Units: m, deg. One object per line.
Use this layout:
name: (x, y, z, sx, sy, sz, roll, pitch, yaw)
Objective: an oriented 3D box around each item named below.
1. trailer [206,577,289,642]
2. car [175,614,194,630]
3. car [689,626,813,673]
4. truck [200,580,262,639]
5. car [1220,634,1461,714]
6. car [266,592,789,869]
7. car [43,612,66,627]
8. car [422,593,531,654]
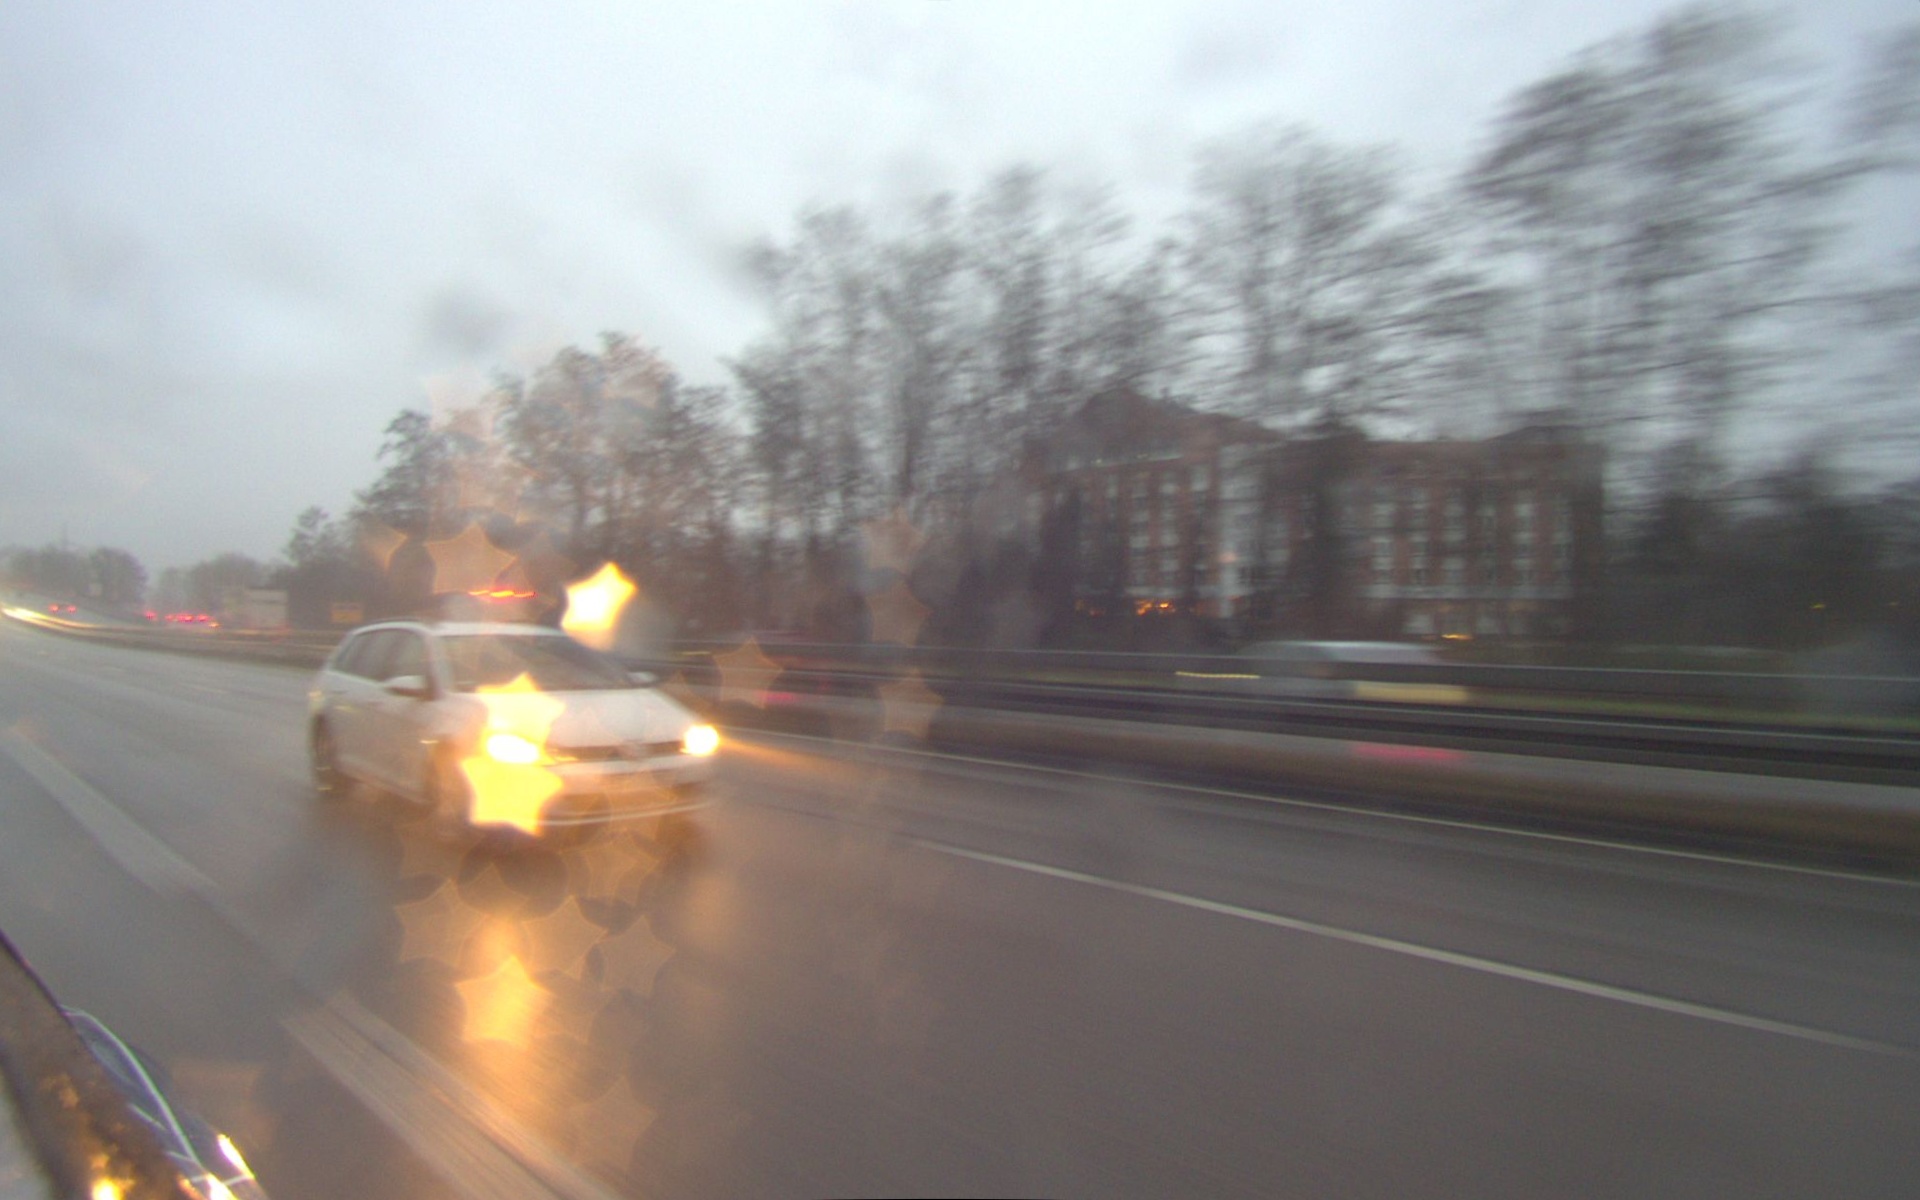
trailer: (-57.853, 0.758, 81.963, 3.449, 4.884, 13.491, -2, 1, -44)
car: (-102.639, 2.853, 133.885, 1.968, 2.029, 4.008, -2, 1, -38)
car: (-6.925, 1.589, 33.243, 4.472, 1.331, 1.691, -1, 1, 42)
truck: (-62.818, 0.813, 87.182, 3.449, 4.884, 6.036, -2, 1, -44)
car: (7.534, 1.407, 20.314, 4.257, 1.331, 1.529, -1, 1, 42)
car: (-3.616, 0.780, 7.947, 4.786, 1.532, 1.927, -1, -2, 42)
car: (-103.988, 2.238, 116.154, 4.043, 1.576, 1.682, -1, 0, 44)
car: (-23.604, 1.105, 49.273, 6.339, 2.751, 2.500, -1, 1, 42)
